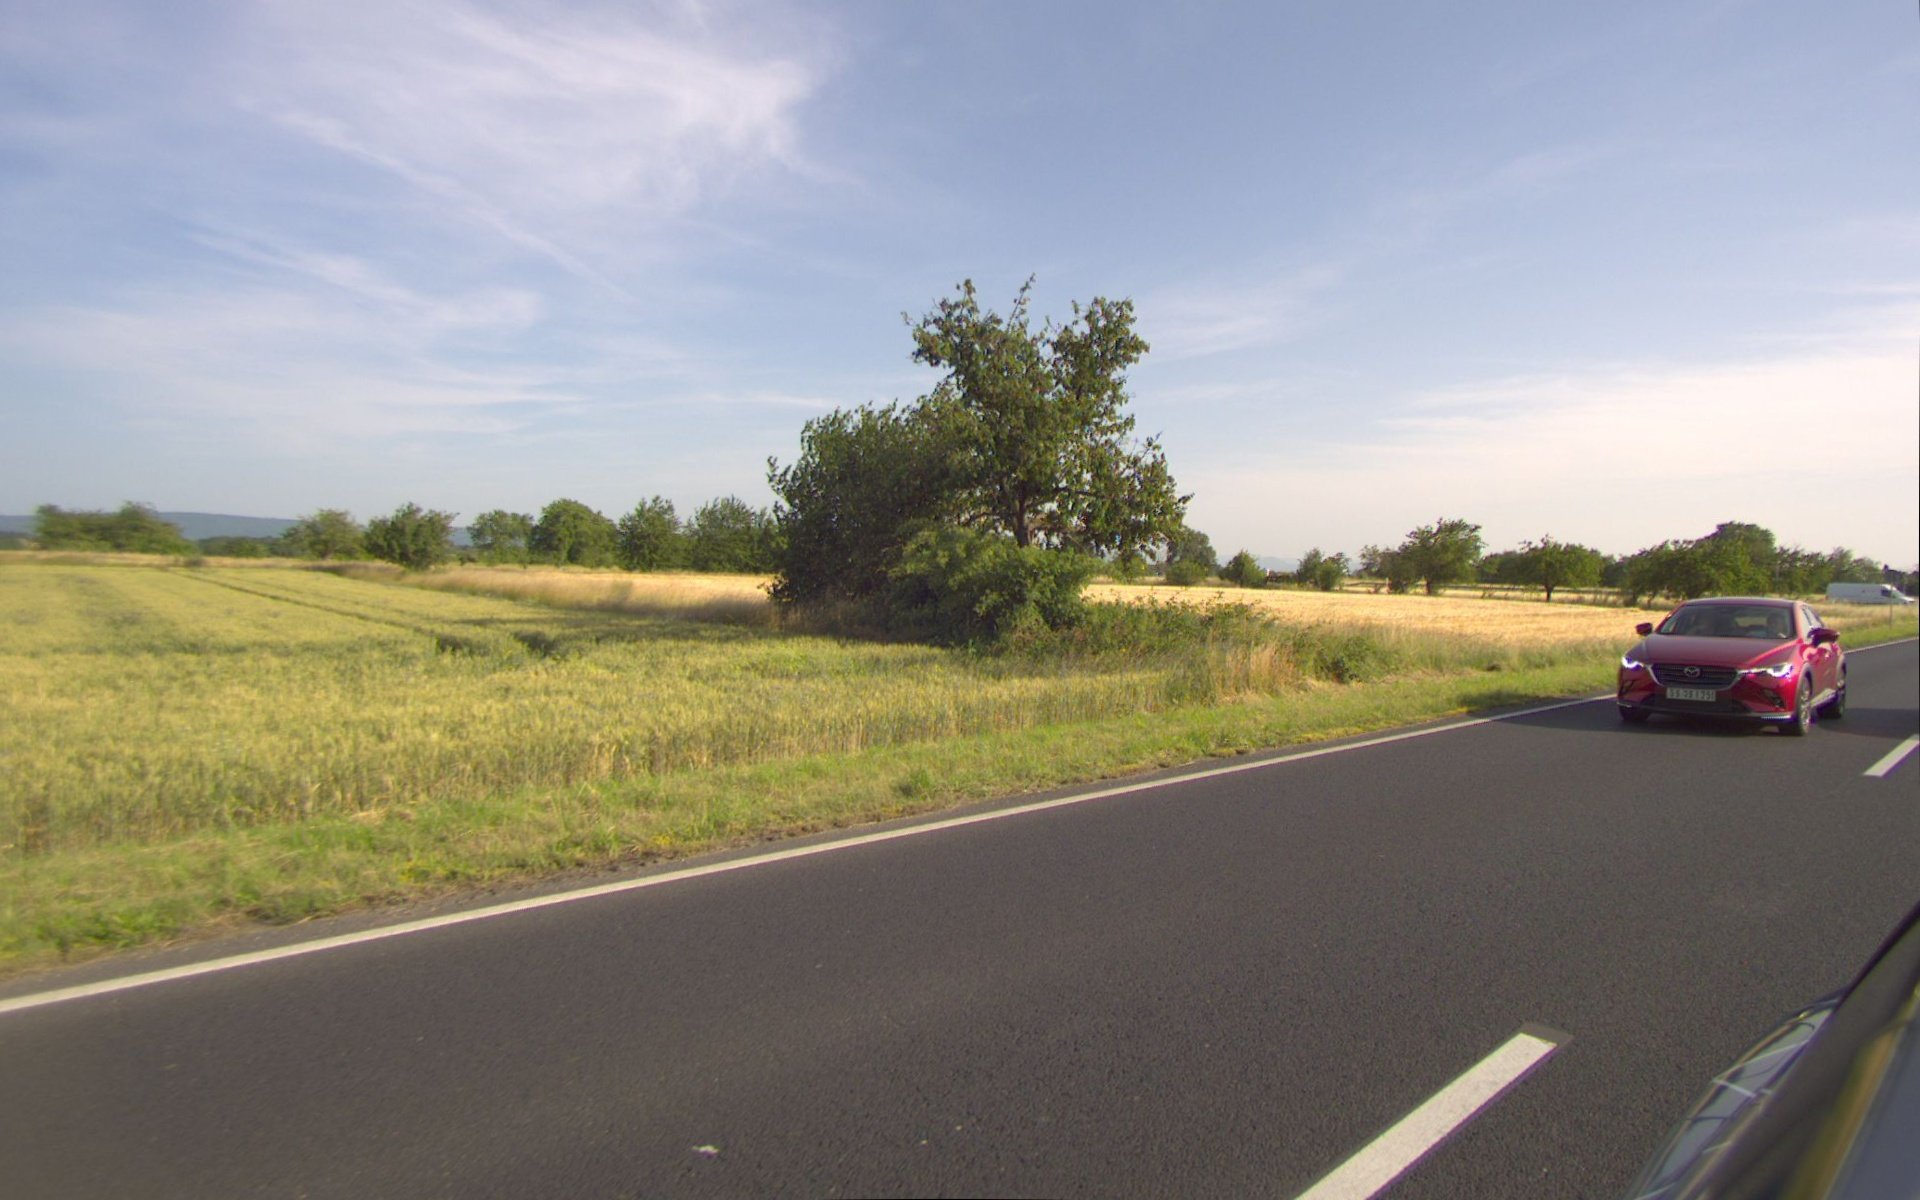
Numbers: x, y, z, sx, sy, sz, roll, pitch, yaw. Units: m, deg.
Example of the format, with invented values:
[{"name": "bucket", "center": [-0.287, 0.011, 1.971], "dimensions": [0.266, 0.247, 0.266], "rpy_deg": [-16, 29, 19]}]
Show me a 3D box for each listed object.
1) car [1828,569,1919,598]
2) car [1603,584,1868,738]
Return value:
[{"name": "car", "center": [91.250, -1.692, 100.658], "dimensions": [2.049, 2.702, 7.229], "rpy_deg": [-1, 2, -26]}, {"name": "car", "center": [9.587, 0.595, 12.372], "dimensions": [4.422, 1.524, 1.707], "rpy_deg": [-1, 1, -41]}]
